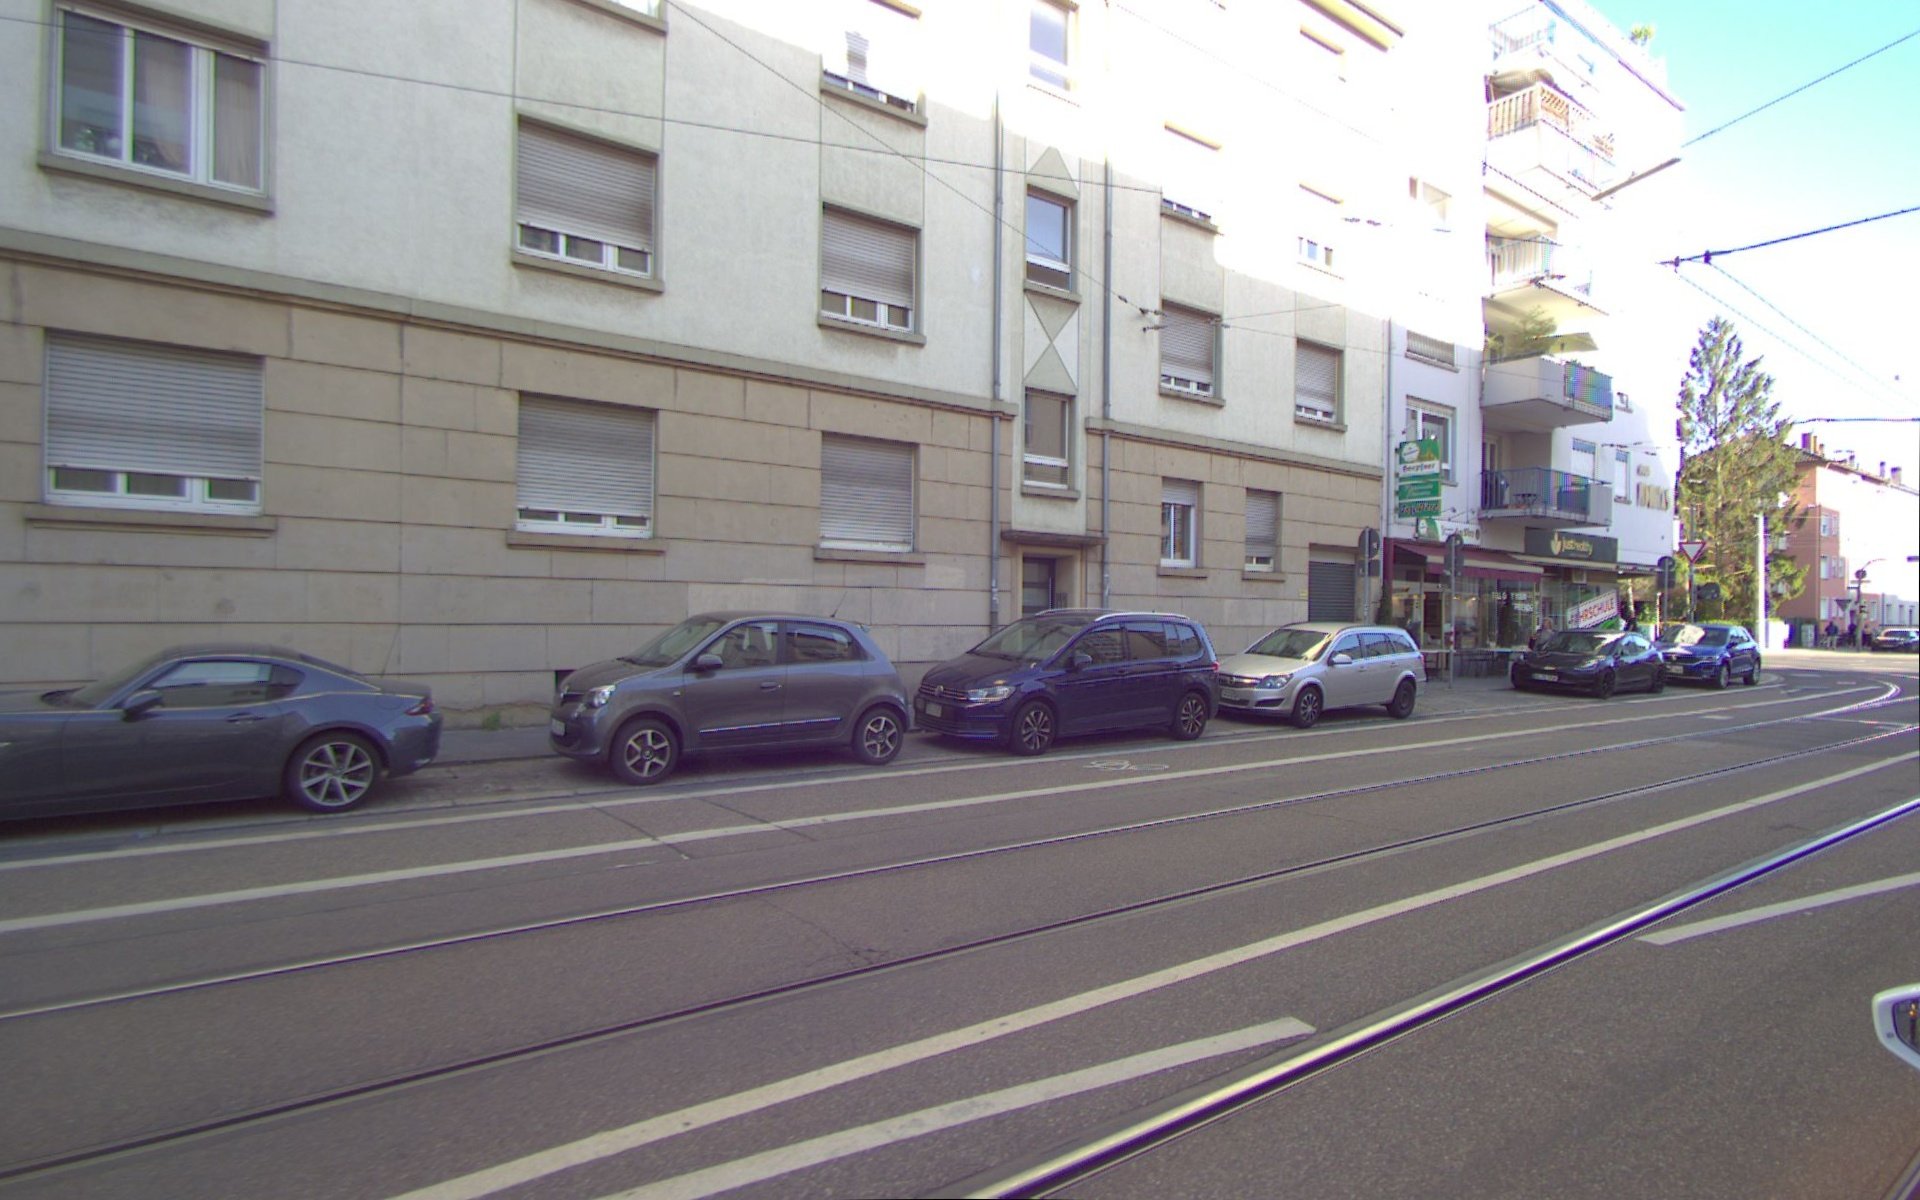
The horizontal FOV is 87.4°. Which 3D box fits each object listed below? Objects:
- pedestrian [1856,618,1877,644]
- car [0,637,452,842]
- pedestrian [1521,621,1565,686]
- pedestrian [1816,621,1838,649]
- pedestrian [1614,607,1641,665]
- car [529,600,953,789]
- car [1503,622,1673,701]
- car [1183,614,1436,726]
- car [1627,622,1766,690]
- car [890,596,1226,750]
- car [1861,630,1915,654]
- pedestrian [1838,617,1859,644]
[{"bbox_3d":[58.942,2.008,65.316,0.728,1.713,0.840,1,0,-30],"label":"pedestrian"},{"bbox_3d":[-6.067,0.942,7.572,3.751,1.232,1.686,2,0,-37],"label":"car"},{"bbox_3d":[14.309,1.293,24.638,0.713,1.569,0.693,0,0,-33],"label":"pedestrian"},{"bbox_3d":[53.721,2.155,62.223,0.728,1.713,0.840,1,0,-30],"label":"pedestrian"},{"bbox_3d":[23.751,1.258,35.736,0.482,2.040,0.681,1,0,-38],"label":"pedestrian"},{"bbox_3d":[-2.186,0.873,10.489,3.961,1.590,1.687,2,0,-36],"label":"car"},{"bbox_3d":[14.015,1.328,22.345,4.270,1.529,1.687,2,0,-36],"label":"car"},{"bbox_3d":[5.721,1.070,16.222,4.345,1.529,1.687,2,0,-37],"label":"car"},{"bbox_3d":[18.863,1.407,25.689,3.962,1.529,1.732,2,0,-36],"label":"car"},{"bbox_3d":[1.350,0.851,12.834,4.204,1.637,1.687,2,0,-37],"label":"car"},{"bbox_3d":[57.808,2.581,62.566,3.965,1.452,1.896,1,-1,-39],"label":"car"},{"bbox_3d":[58.393,1.996,66.000,0.728,1.713,0.840,1,0,-30],"label":"pedestrian"}]
